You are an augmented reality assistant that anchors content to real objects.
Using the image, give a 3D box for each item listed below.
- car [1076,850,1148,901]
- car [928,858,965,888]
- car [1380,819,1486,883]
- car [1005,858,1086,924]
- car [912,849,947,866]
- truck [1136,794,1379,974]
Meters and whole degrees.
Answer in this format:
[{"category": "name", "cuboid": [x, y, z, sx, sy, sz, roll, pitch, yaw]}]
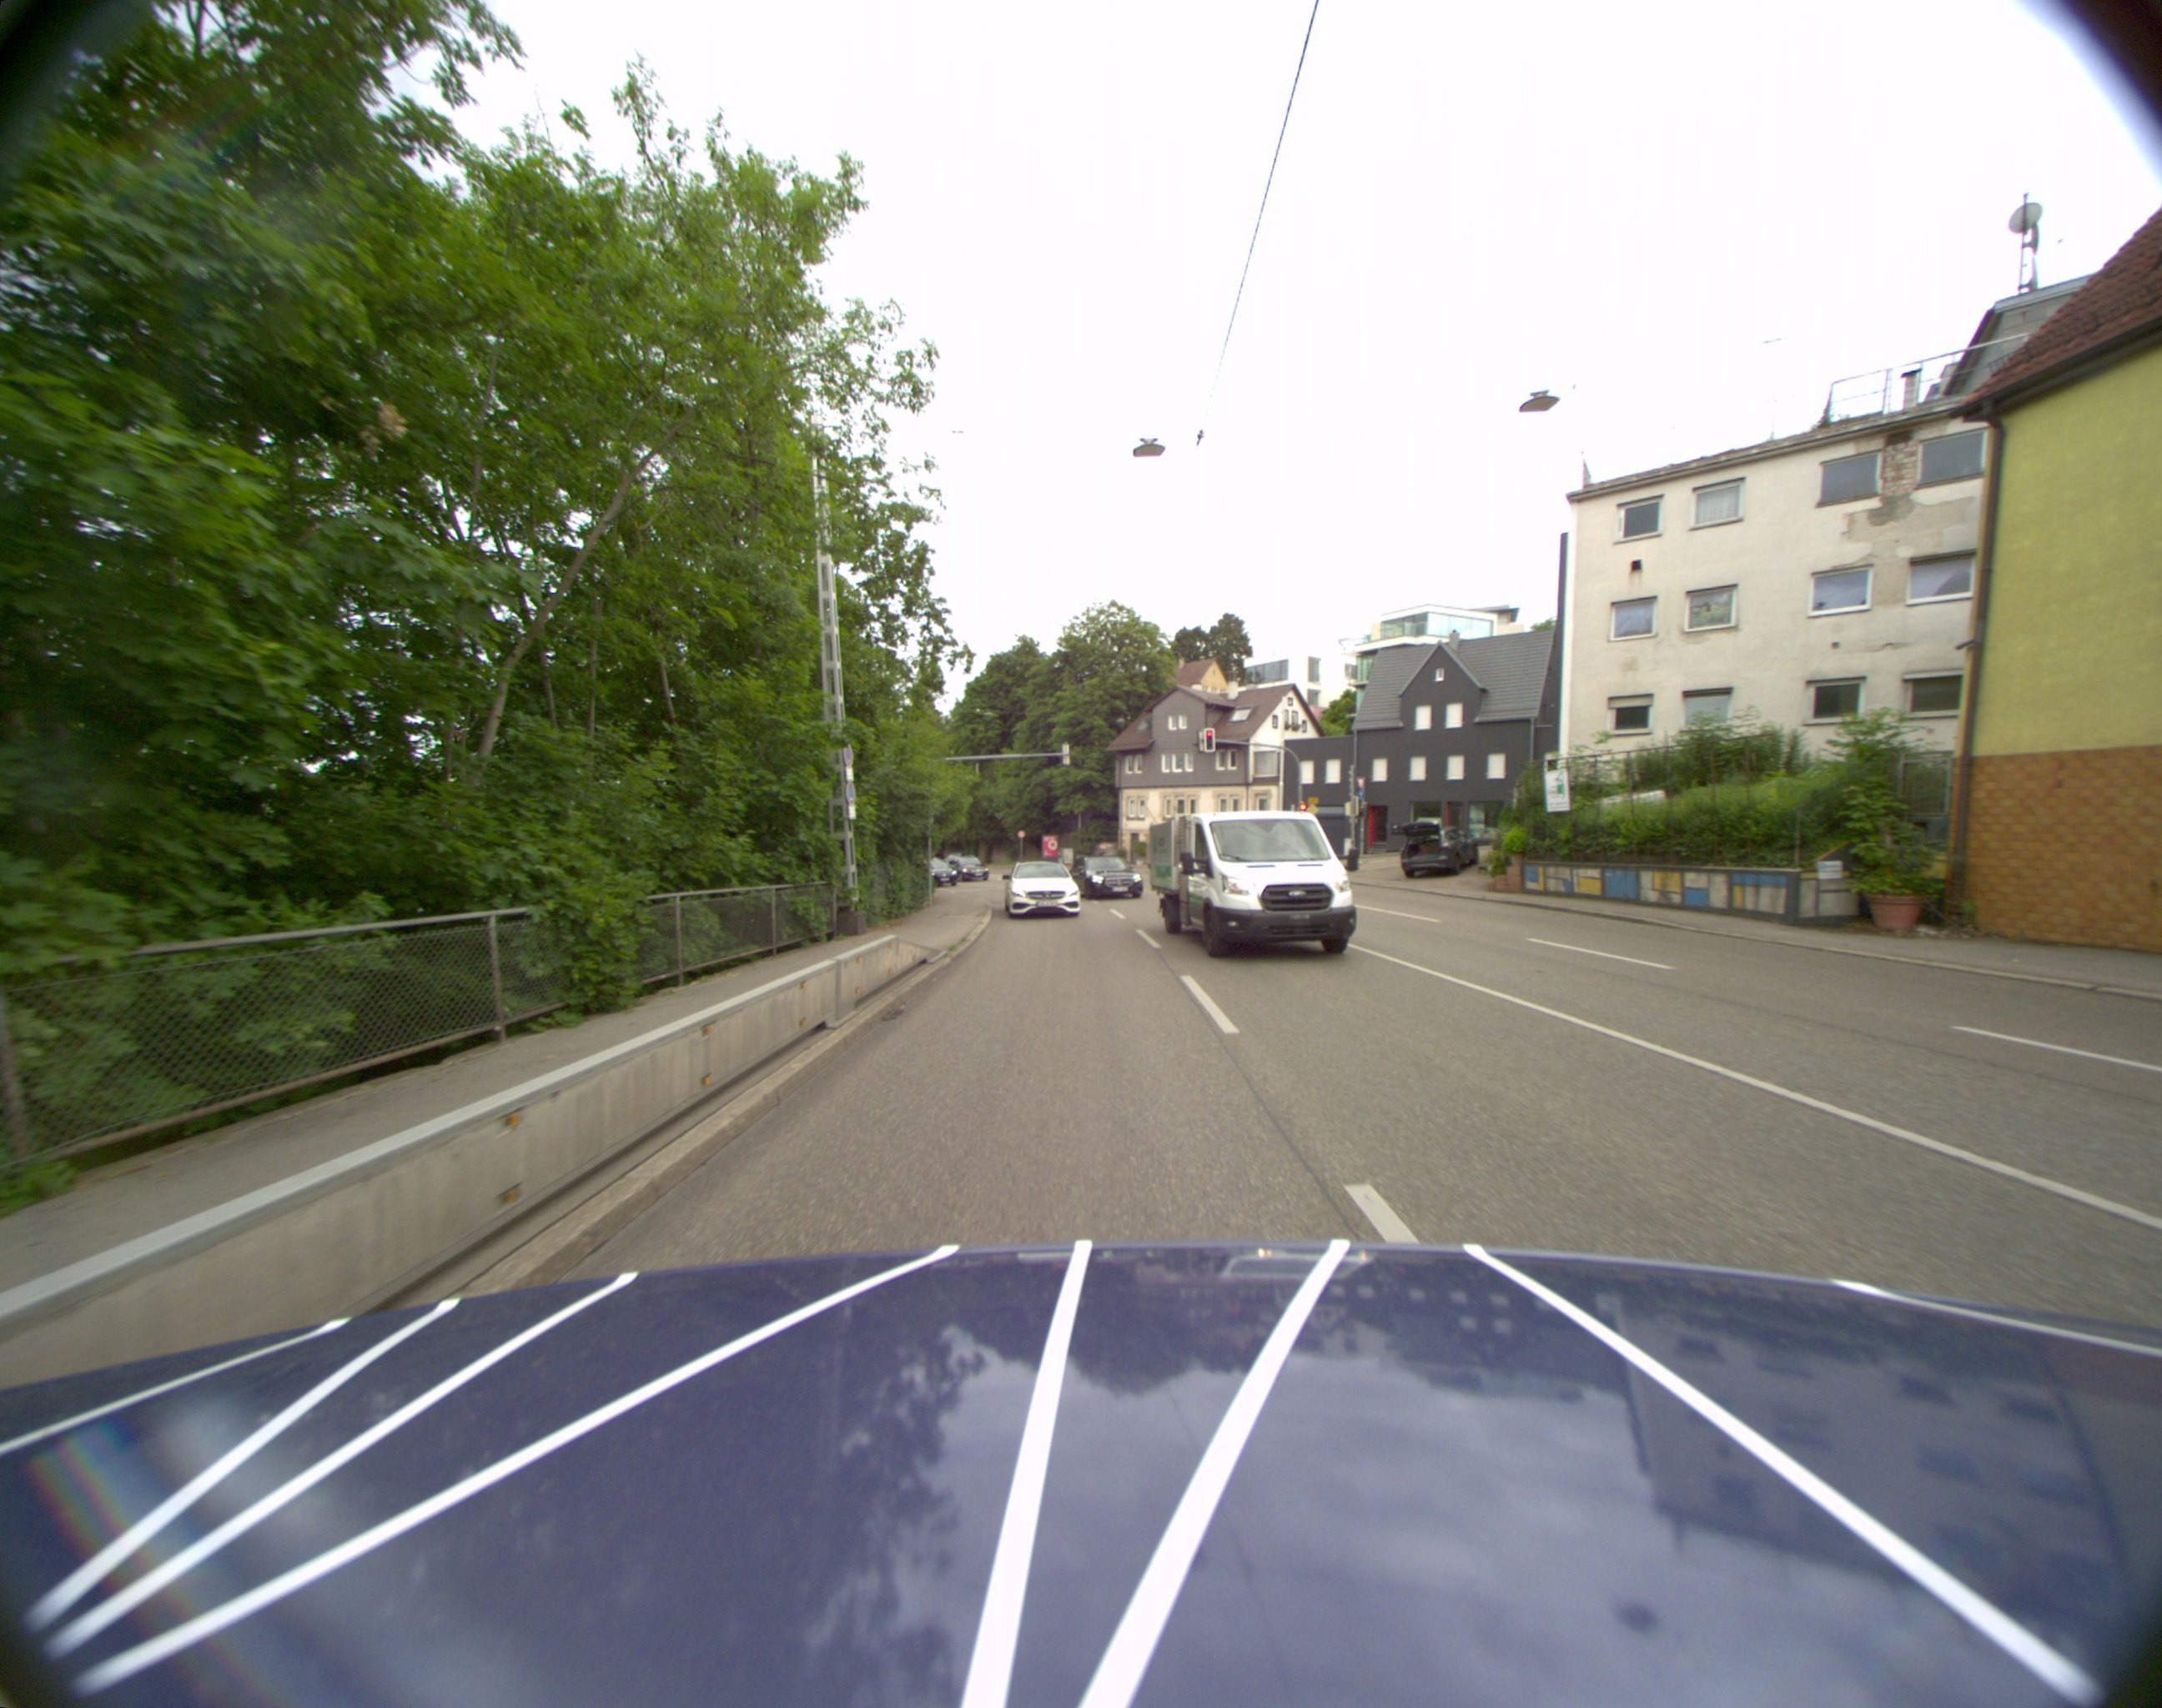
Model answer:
[{"category": "car", "cuboid": [1.021, 0.704, 27.063, 1.916, 1.472, 4.397, -4, 2, -5]}, {"category": "car", "cuboid": [-7.907, 1.072, 44.488, 1.779, 1.533, 3.995, -4, 2, -13]}, {"category": "car", "cuboid": [13.278, -0.164, 28.529, 2.313, 1.703, 4.709, -6, 3, 40]}, {"category": "car", "cuboid": [-1.030, 0.881, 20.057, 1.818, 1.391, 3.997, -3, 1, -6]}, {"category": "car", "cuboid": [-15.532, 0.345, 77.756, 1.892, 1.559, 4.378, -3, 1, -34]}, {"category": "truck", "cuboid": [2.576, 0.374, 13.156, 2.081, 2.307, 6.328, -2, 0, -6]}]
